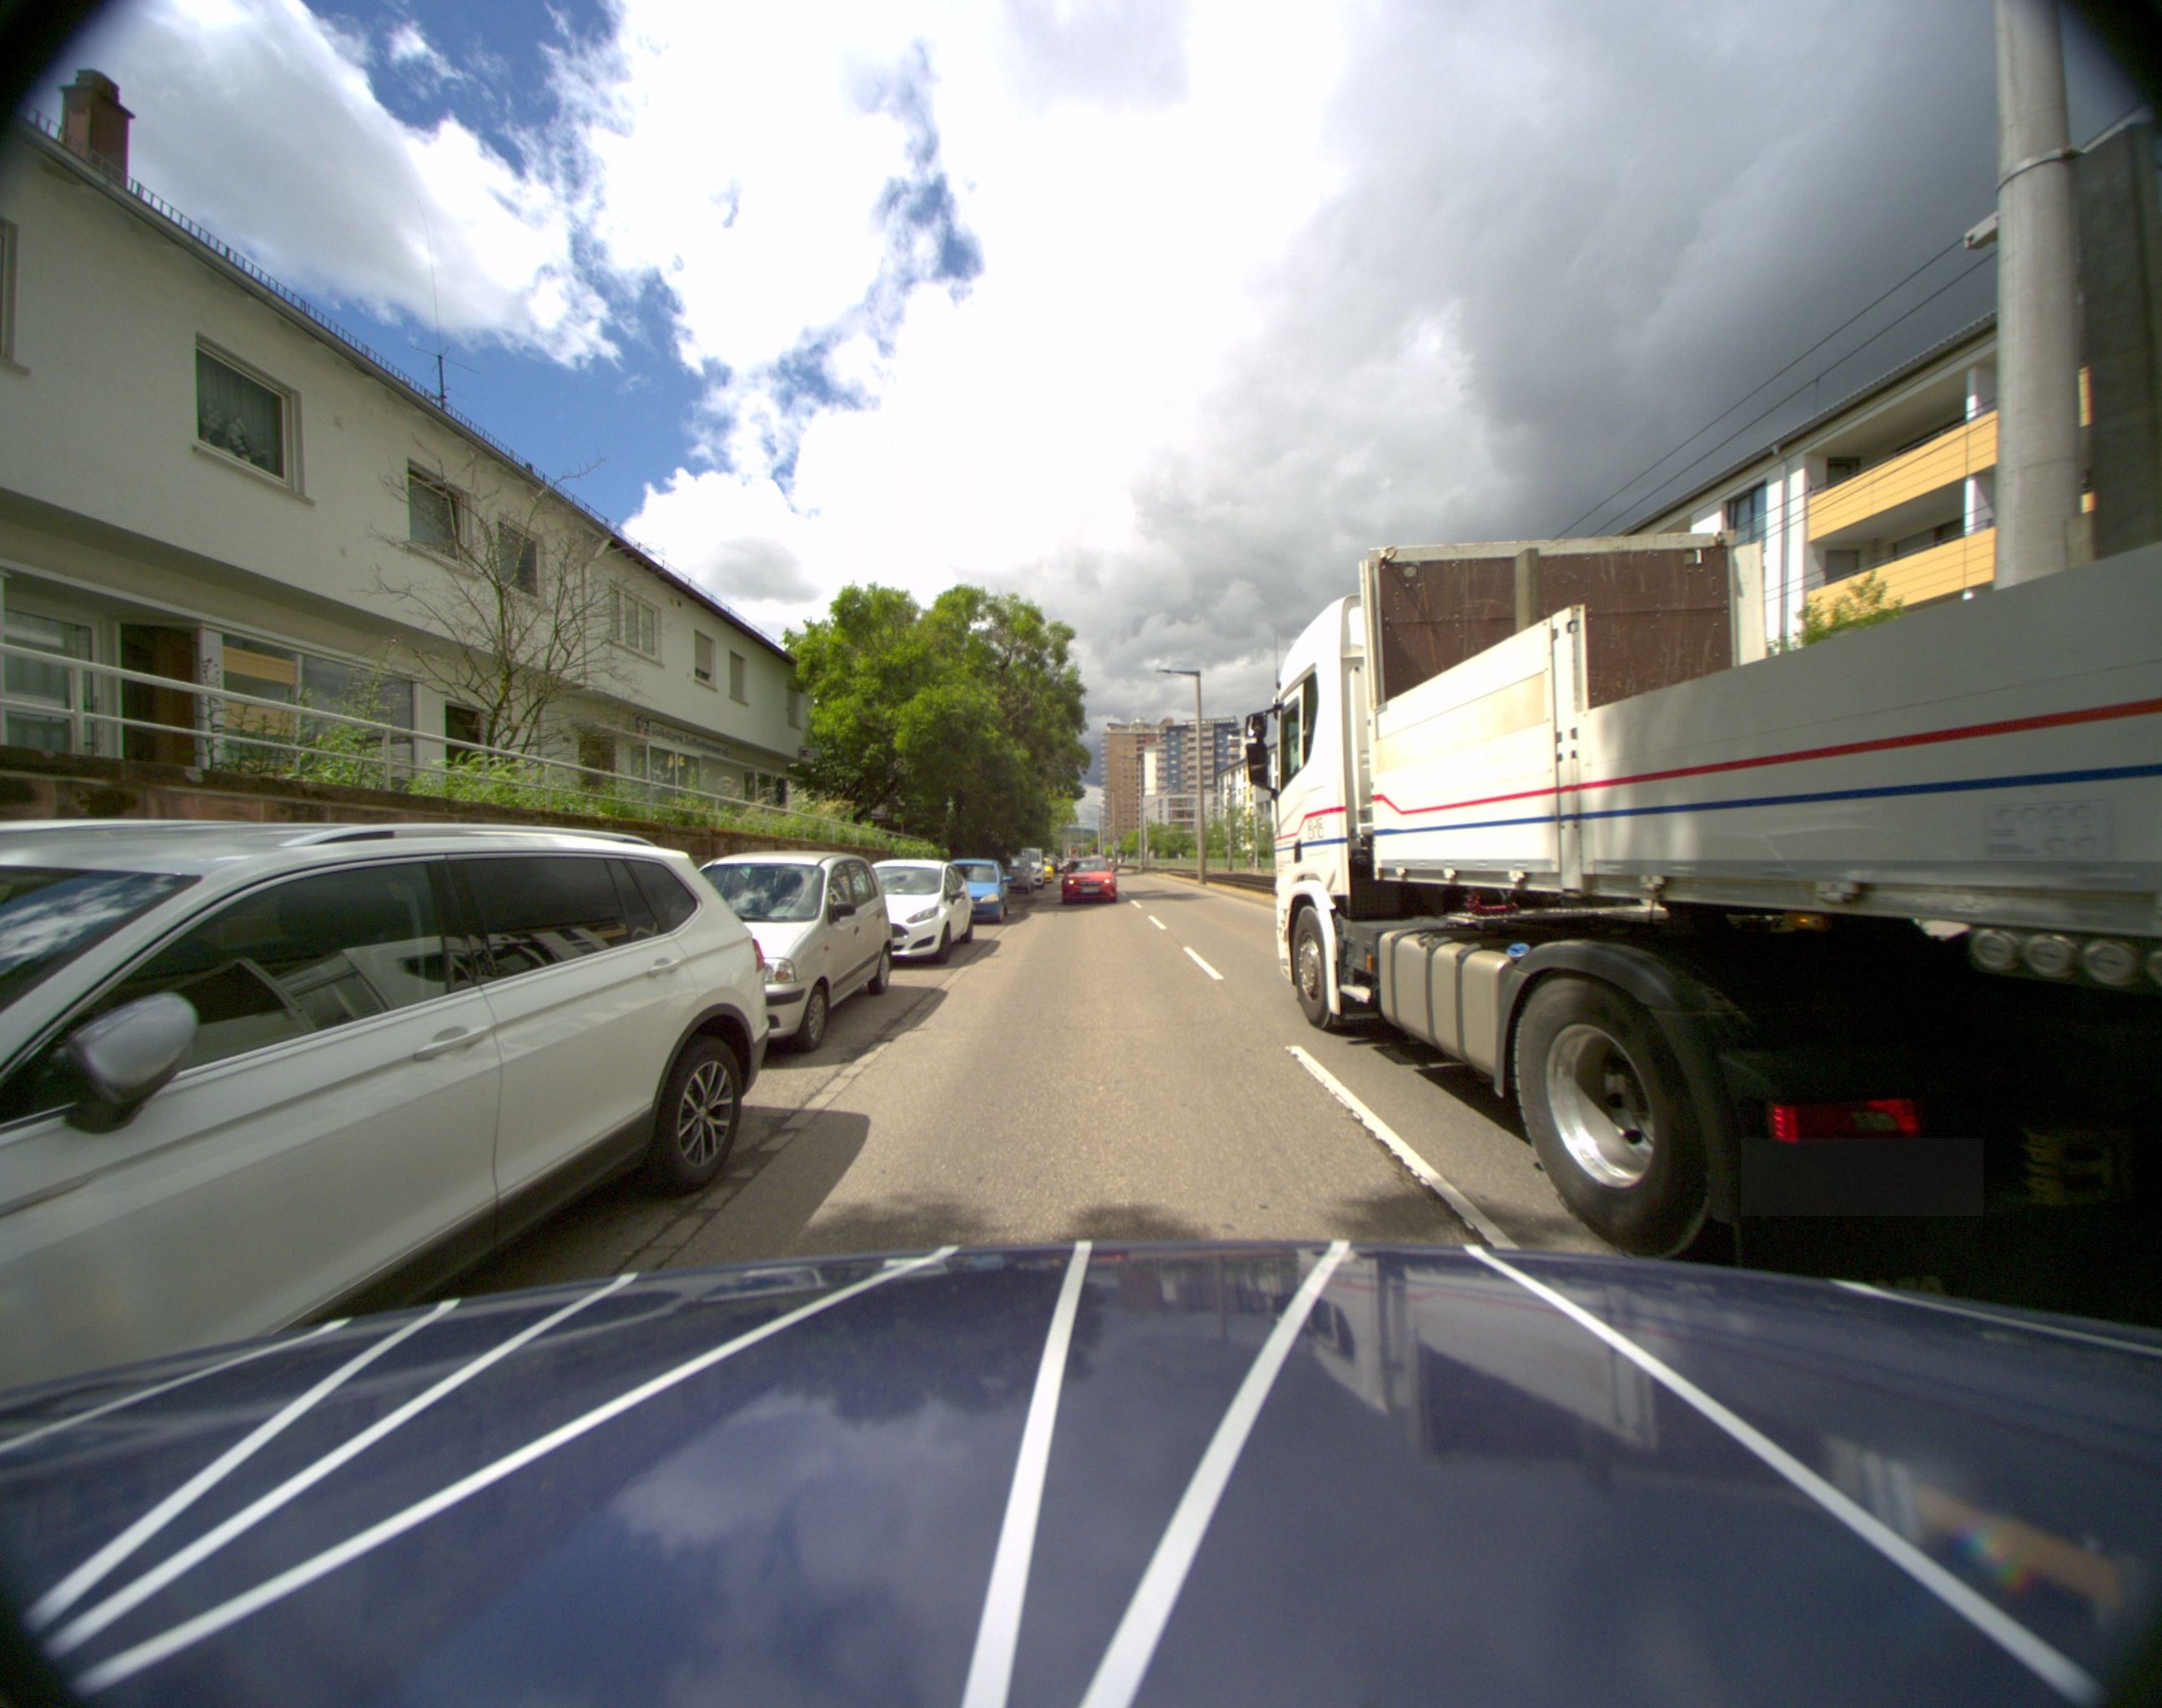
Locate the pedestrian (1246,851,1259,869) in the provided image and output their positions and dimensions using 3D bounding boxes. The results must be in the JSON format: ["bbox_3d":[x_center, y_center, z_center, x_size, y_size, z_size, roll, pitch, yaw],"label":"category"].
[{"bbox_3d":[14.326,0.470,63.500,0.798,1.474,0.995,-1,0,-3],"label":"pedestrian"}]

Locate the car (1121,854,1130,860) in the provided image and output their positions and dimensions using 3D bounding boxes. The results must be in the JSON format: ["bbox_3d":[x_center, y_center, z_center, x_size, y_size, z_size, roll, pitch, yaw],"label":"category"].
[{"bbox_3d":[11.421,0.861,195.485,1.781,1.530,3.802,-1,0,-3],"label":"car"}]

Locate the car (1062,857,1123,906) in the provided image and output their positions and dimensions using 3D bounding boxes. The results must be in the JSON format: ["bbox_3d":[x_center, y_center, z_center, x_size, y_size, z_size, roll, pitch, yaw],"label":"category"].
[{"bbox_3d":[0.296,0.828,24.729,1.792,1.387,4.241,-2,0,-1],"label":"car"}]

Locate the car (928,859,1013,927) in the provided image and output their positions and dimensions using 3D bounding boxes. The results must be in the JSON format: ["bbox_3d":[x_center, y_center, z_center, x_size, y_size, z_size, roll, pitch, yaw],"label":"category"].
[{"bbox_3d":[-2.576,0.863,18.380,1.612,1.448,3.675,1,0,-2],"label":"car"}]

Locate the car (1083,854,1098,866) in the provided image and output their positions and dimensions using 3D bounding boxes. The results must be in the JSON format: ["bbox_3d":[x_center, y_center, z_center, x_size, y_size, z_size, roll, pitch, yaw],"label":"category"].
[{"bbox_3d":[1.298,0.833,104.964,1.822,1.494,4.835,-2,0,-3],"label":"car"}]

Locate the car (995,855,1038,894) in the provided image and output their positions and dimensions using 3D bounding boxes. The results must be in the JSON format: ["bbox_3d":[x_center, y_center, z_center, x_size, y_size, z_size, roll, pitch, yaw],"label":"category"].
[{"bbox_3d":[-2.612,0.797,31.138,1.517,1.525,2.846,1,0,-1],"label":"car"}]

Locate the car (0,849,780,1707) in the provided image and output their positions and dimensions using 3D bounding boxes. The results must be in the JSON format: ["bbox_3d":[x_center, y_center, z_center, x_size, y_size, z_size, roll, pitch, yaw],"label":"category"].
[{"bbox_3d":[-2.707,0.830,1.976,1.828,1.672,4.576,0,0,3],"label":"car"}]

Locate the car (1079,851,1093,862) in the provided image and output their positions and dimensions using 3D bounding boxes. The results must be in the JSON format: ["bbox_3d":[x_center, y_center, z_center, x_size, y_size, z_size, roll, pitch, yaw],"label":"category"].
[{"bbox_3d":[0.840,0.435,121.748,1.863,1.680,4.432,-1,0,-4],"label":"car"}]

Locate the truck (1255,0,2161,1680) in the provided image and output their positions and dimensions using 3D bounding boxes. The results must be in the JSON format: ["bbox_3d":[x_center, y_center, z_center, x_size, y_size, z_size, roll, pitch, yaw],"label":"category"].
[{"bbox_3d":[3.093,-0.220,4.513,2.705,3.559,6.145,-2,0,1],"label":"truck"}]

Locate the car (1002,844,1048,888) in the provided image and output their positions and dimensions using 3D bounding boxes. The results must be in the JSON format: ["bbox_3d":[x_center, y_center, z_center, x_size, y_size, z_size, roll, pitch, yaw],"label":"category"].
[{"bbox_3d":[-2.588,0.510,36.561,1.919,1.947,5.744,0,0,-1],"label":"car"}]

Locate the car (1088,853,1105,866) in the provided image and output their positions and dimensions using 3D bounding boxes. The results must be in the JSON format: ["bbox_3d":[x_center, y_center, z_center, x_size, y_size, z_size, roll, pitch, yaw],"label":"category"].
[{"bbox_3d":[1.931,0.712,96.140,1.822,1.604,4.600,-2,0,-2],"label":"car"}]

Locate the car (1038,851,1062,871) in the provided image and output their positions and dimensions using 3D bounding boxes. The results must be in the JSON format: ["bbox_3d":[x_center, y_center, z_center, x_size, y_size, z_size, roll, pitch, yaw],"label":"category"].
[{"bbox_3d":[-2.864,0.631,70.525,2.020,1.778,5.075,0,0,0],"label":"car"}]

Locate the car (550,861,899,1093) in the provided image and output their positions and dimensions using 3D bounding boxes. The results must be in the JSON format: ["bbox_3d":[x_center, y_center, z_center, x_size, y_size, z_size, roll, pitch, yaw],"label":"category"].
[{"bbox_3d":[-2.864,0.862,6.973,1.585,1.543,3.474,-1,0,-1],"label":"car"}]

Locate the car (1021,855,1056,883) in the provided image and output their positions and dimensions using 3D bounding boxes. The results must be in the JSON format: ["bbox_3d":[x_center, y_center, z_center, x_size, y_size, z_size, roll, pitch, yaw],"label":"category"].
[{"bbox_3d":[-2.339,0.794,42.695,1.760,1.434,4.340,1,0,-1],"label":"car"}]

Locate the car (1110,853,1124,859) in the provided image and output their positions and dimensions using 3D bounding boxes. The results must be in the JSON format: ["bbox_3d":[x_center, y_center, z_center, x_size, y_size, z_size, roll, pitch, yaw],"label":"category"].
[{"bbox_3d":[11.036,0.656,233.020,4.506,1.914,1.877,-1,0,-43],"label":"car"}]

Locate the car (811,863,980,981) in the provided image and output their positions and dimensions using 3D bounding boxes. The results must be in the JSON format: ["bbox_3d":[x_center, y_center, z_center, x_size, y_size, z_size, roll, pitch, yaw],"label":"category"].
[{"bbox_3d":[-2.681,0.912,11.854,1.649,1.481,3.822,-1,0,0],"label":"car"}]
